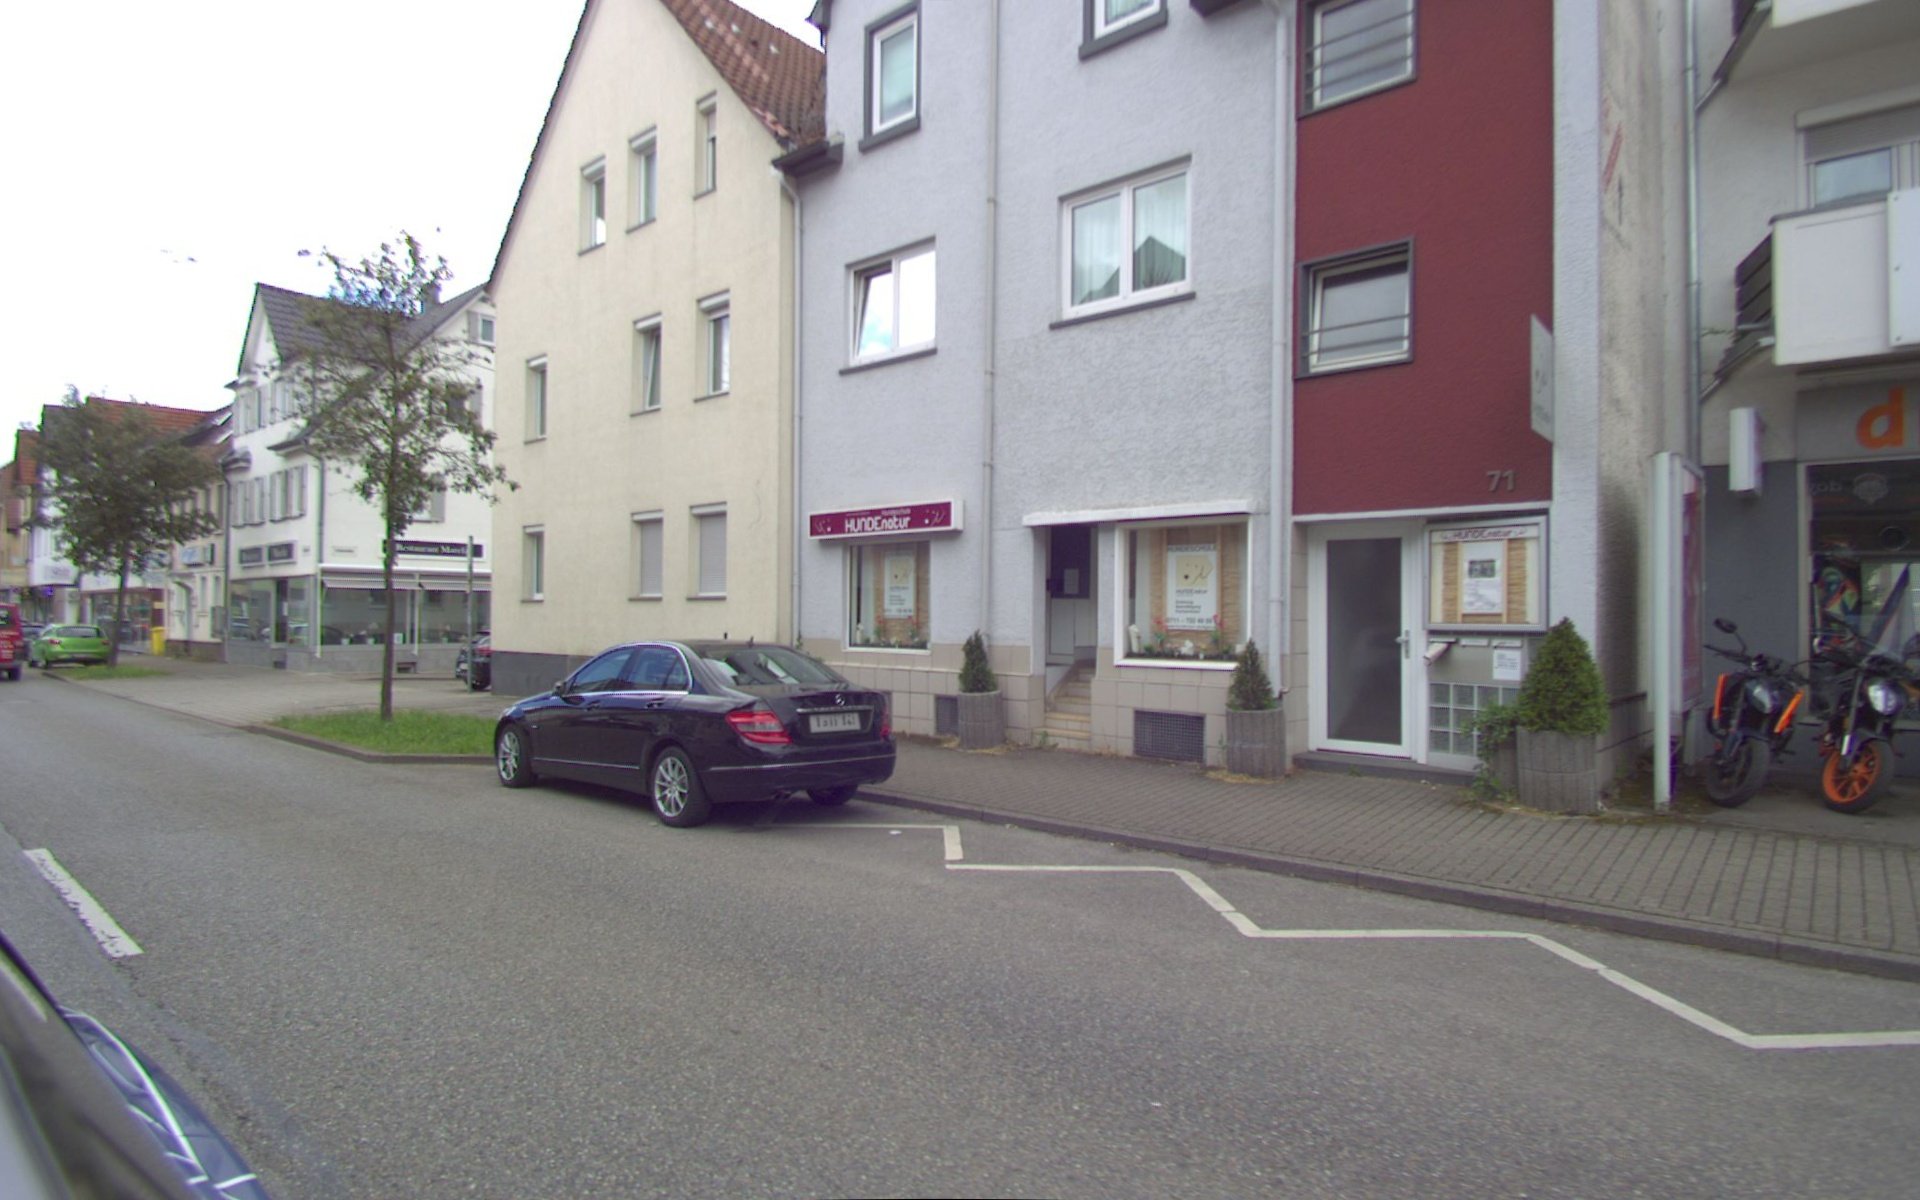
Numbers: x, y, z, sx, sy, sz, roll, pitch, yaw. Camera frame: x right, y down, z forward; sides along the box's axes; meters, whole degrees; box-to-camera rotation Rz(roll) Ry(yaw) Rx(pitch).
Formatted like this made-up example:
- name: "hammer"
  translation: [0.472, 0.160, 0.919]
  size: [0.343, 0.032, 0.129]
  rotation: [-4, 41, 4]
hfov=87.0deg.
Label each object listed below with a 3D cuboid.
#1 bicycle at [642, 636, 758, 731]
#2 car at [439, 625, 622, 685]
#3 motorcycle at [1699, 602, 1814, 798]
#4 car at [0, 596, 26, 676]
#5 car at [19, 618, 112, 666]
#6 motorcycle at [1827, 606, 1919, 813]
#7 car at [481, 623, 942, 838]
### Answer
- name: "bicycle"
  translation: [-3.628, 1.112, 13.999]
  size: [2.023, 1.205, 0.509]
  rotation: [-1, -1, 41]
- name: "car"
  translation: [-9.623, 1.214, 22.821]
  size: [1.610, 1.198, 3.445]
  rotation: [-3, -3, 40]
- name: "motorcycle"
  translation: [6.262, 0.684, 7.913]
  size: [0.613, 1.275, 2.202]
  rotation: [-1, 1, 40]
- name: "car"
  translation: [-25.543, 0.883, 25.888]
  size: [4.488, 1.958, 1.831]
  rotation: [-1, -3, 40]
- name: "car"
  translation: [-28.708, 1.303, 32.446]
  size: [3.897, 1.407, 1.693]
  rotation: [-1, -1, 40]
- name: "motorcycle"
  translation: [6.827, 0.714, 7.472]
  size: [0.613, 1.275, 2.202]
  rotation: [-1, 1, 40]
- name: "car"
  translation: [-2.358, 0.937, 8.913]
  size: [4.339, 1.428, 1.769]
  rotation: [-1, -3, 41]
